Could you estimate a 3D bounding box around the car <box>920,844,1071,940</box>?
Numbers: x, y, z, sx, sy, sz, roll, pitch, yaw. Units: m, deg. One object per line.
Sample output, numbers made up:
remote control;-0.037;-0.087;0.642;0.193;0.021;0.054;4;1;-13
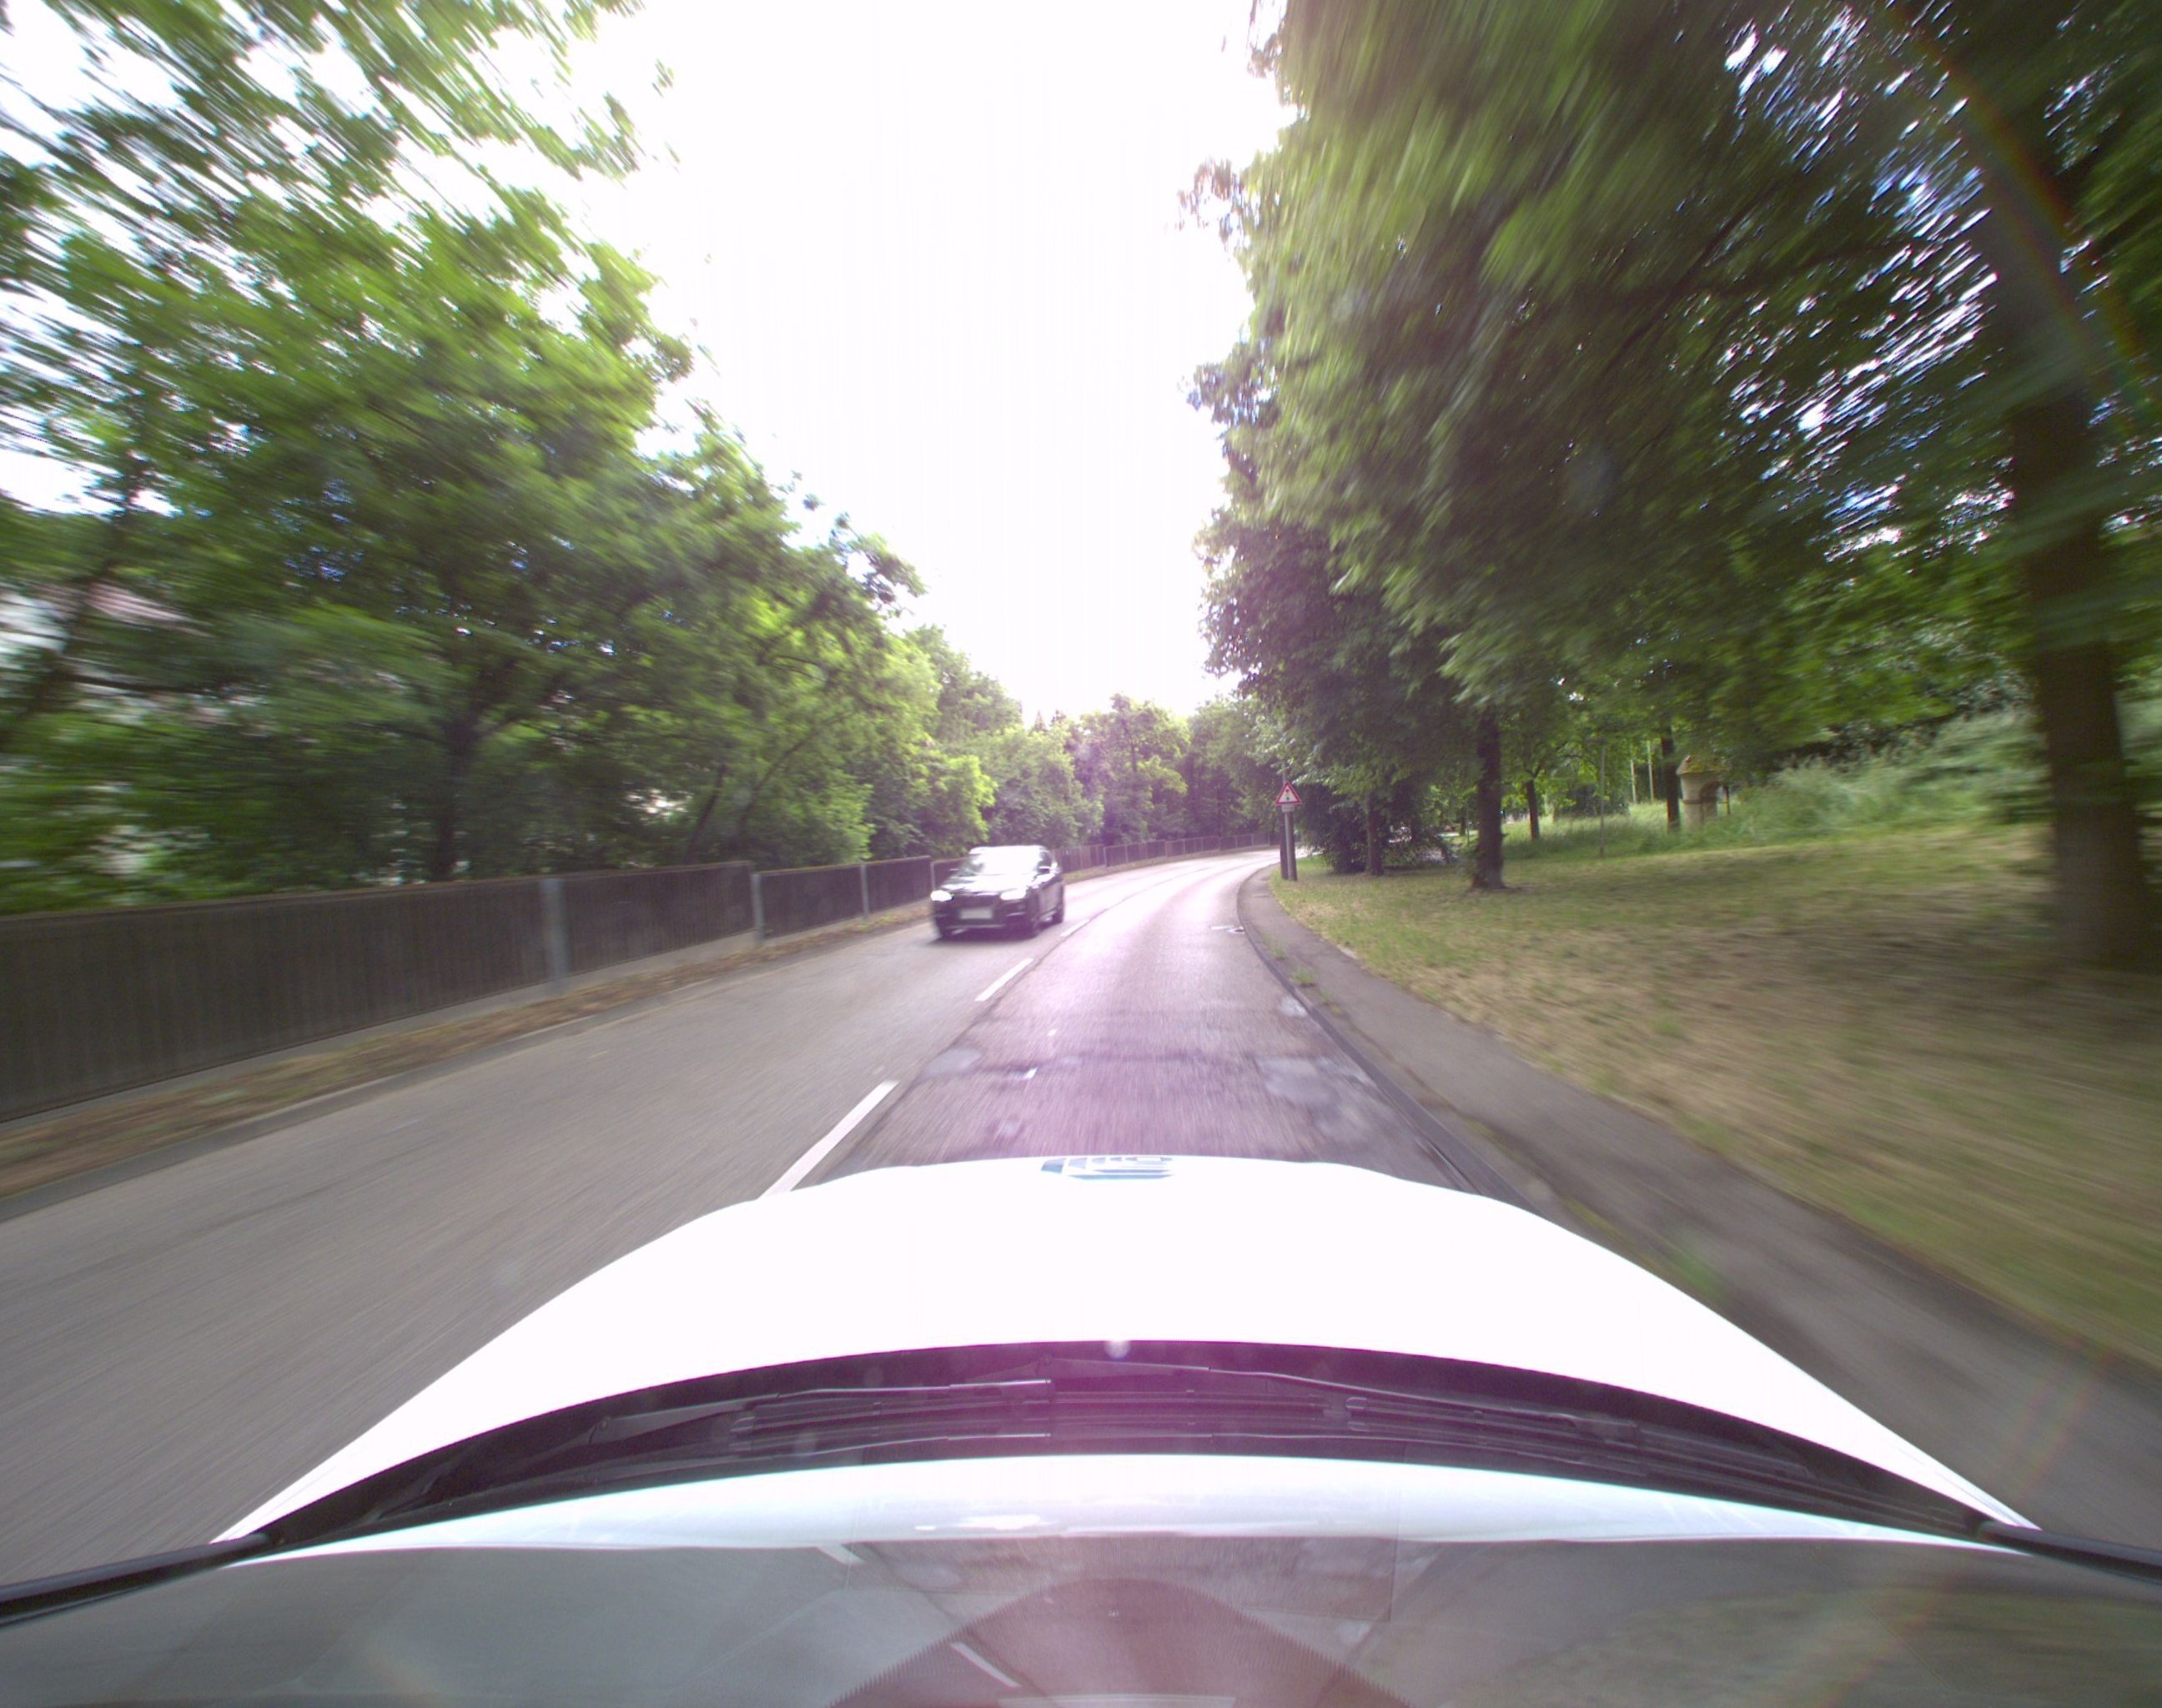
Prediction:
car;-1.464;0.628;15.720;1.835;1.564;4.244;-2;0;9
